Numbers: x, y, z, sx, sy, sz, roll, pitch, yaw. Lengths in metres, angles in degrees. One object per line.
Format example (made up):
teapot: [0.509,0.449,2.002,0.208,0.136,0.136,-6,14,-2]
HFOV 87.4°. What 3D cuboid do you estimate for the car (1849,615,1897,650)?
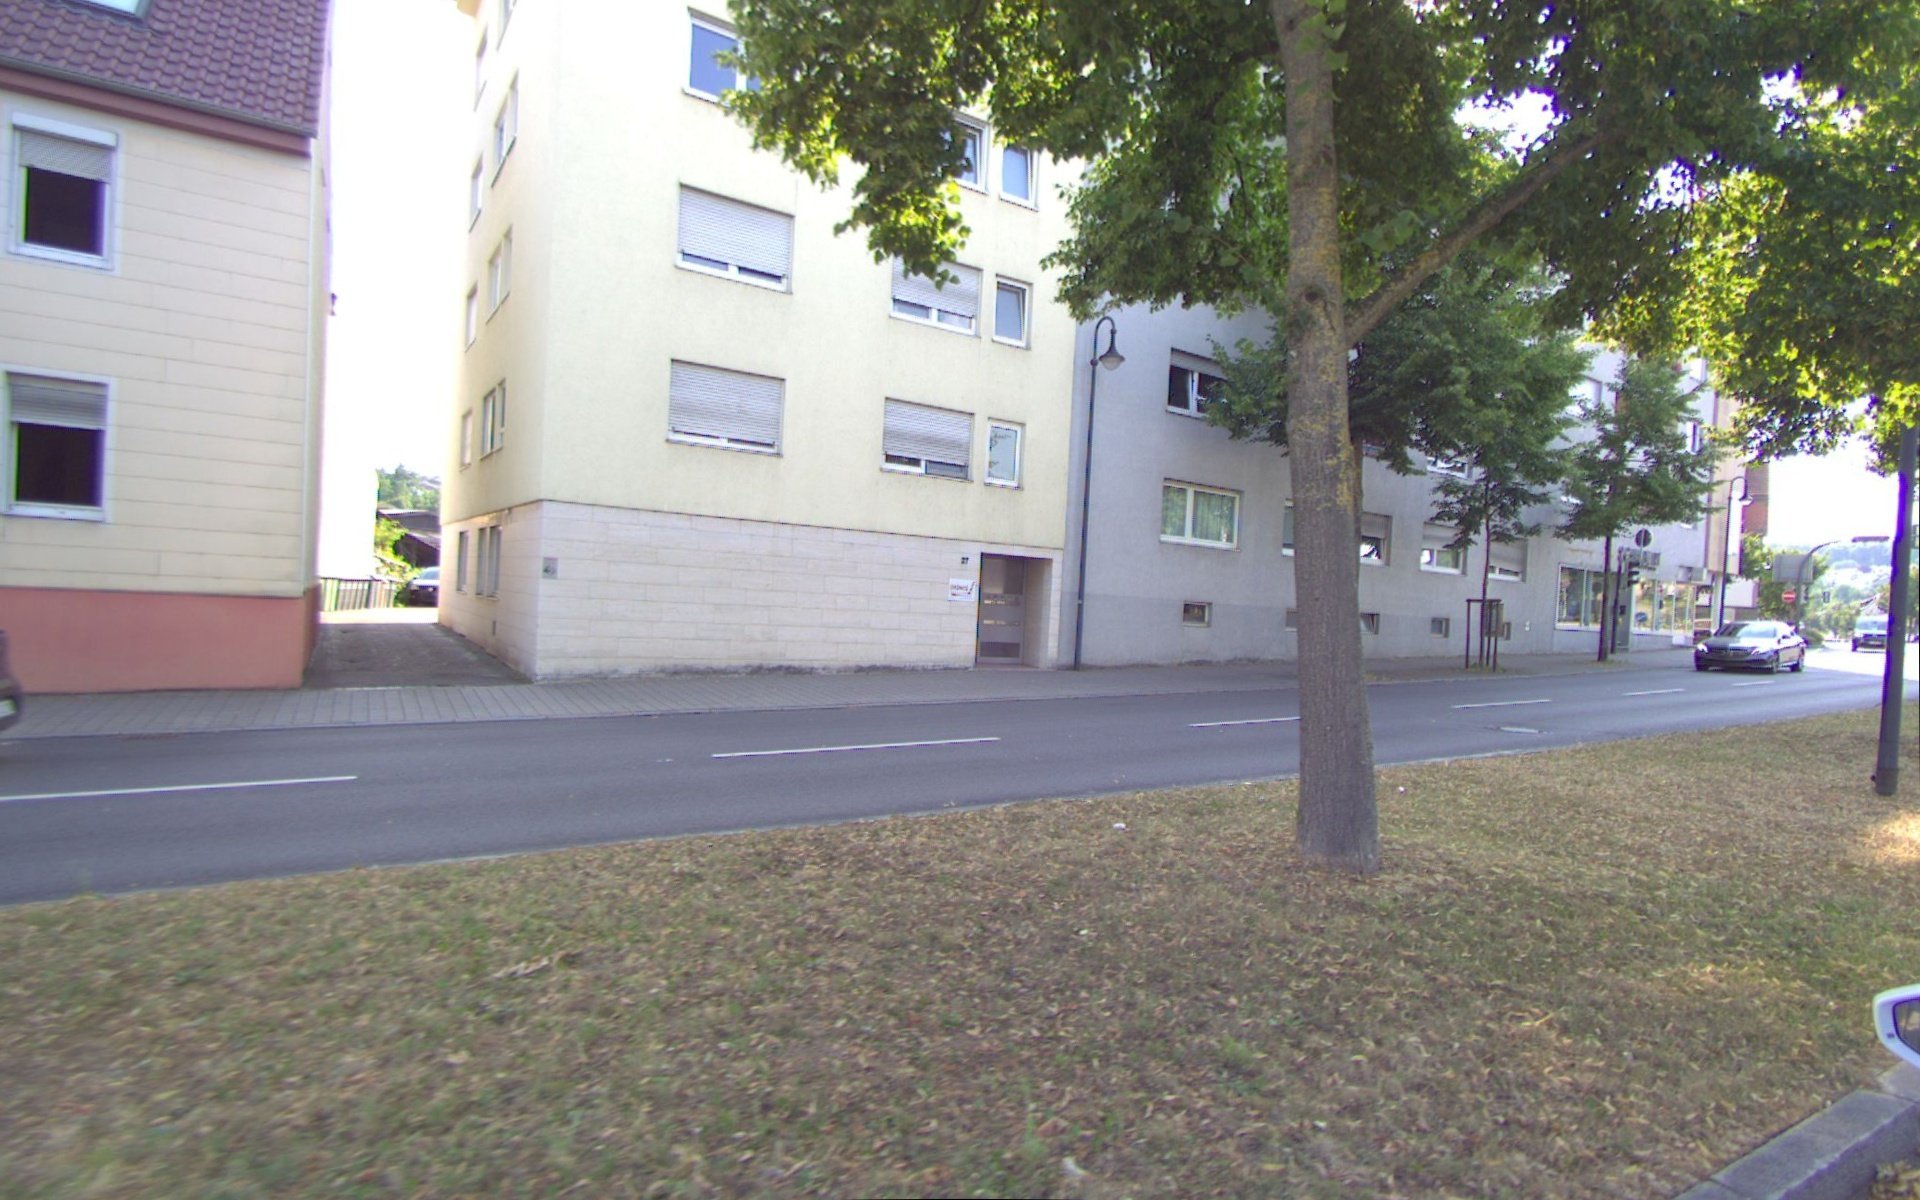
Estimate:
car: [49.611,1.773,54.596,1.832,1.759,4.895,1,-1,42]

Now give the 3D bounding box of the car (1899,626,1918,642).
car: [126.366,4.560,133.874,1.753,2.040,3.977,2,0,43]

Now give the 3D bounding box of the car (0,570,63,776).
car: [-8.999,0.479,7.062,3.742,1.506,1.597,2,0,-32]

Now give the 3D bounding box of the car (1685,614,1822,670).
car: [23.436,1.216,29.595,4.946,1.506,1.840,2,-1,-35]

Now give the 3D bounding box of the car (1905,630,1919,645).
car: [119.633,4.666,125.255,2.189,1.792,4.436,2,0,38]

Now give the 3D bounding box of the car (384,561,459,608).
car: [-20.494,-0.572,38.377,1.646,1.639,3.986,1,0,-16]
